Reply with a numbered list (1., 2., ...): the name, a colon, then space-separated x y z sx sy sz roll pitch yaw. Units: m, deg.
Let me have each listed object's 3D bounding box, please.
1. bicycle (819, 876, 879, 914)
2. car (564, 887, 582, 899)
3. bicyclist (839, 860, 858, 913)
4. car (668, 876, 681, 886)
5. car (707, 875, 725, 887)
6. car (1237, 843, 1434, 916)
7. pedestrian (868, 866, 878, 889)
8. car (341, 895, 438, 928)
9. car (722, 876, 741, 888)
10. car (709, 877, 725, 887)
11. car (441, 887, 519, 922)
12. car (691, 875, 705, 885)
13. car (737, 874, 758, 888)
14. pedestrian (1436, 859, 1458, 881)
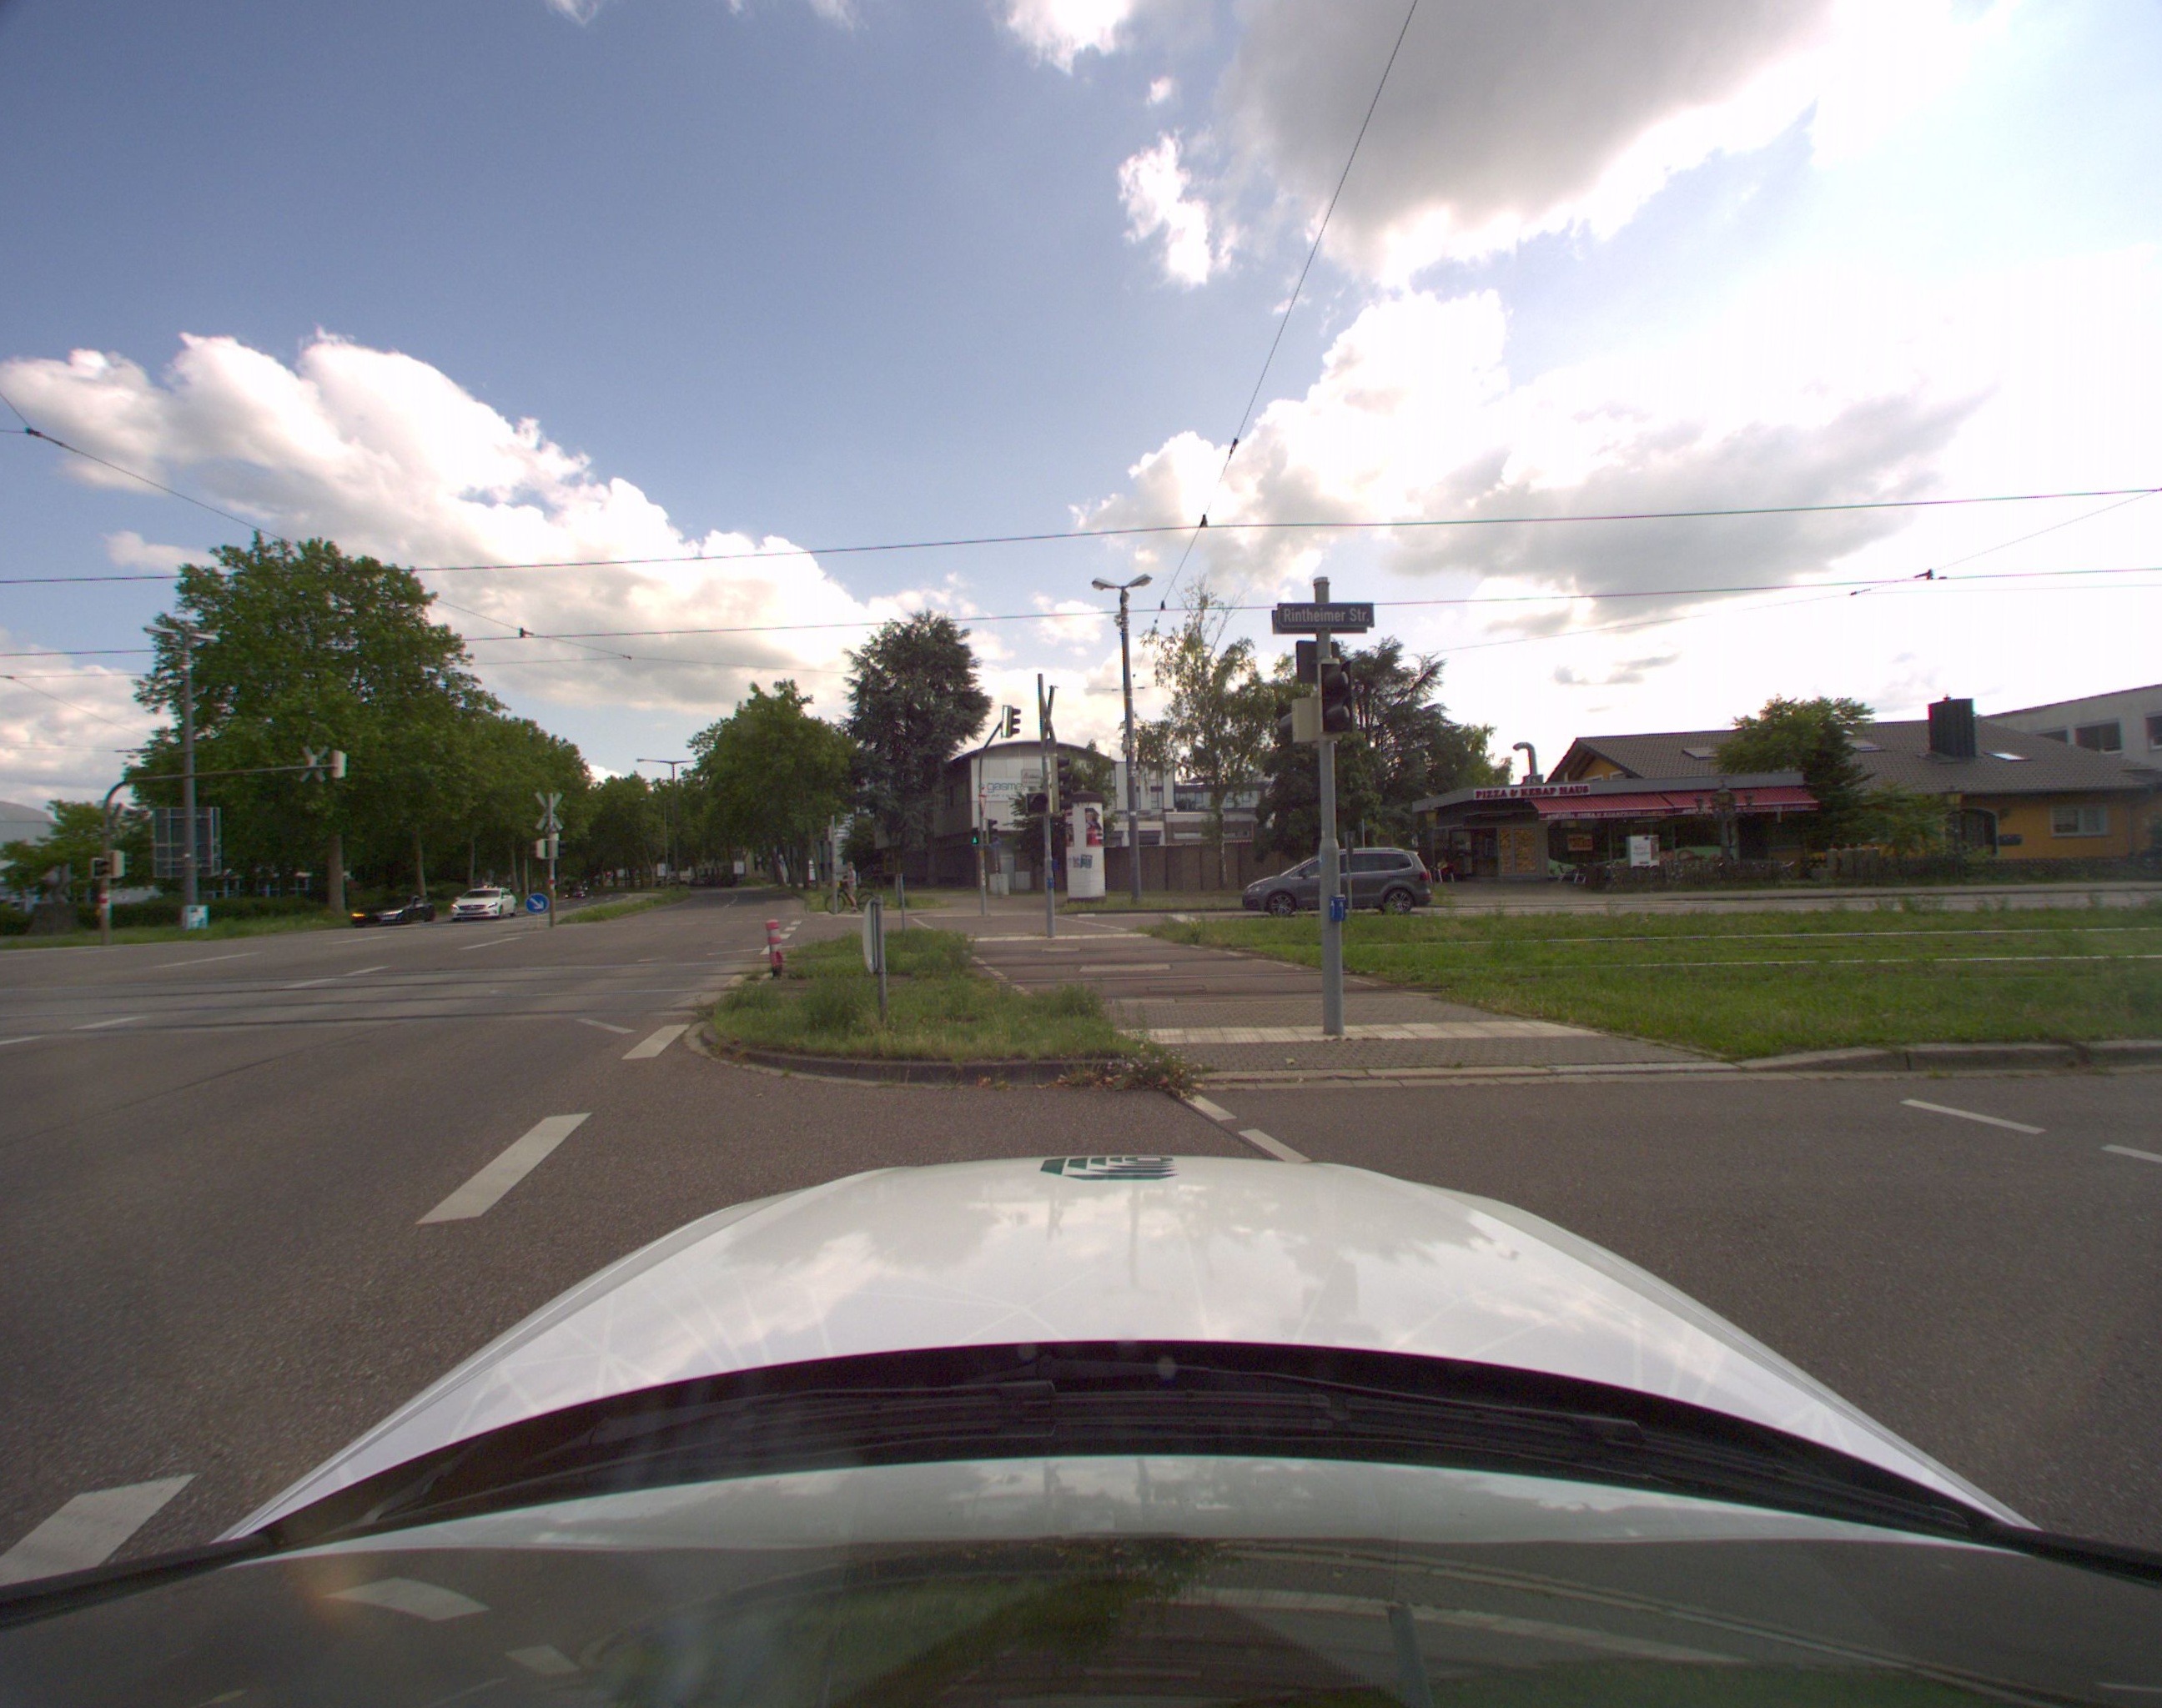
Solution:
1. bicycle: -8.104 1.435 28.546 1.946 1.235 0.539 -2 1 -11
2. car: -55.737 4.245 89.364 1.646 1.192 3.670 -1 -1 -33
3. bicyclist: -8.138 1.134 28.531 0.543 1.809 0.539 -2 1 -10
4. car: -79.332 5.245 159.015 2.007 1.574 3.961 -2 1 -31
5. car: -56.666 4.140 126.421 2.007 1.574 3.961 -2 1 -31
6. car: 6.565 0.665 21.518 4.697 1.722 2.005 -2 -1 8
7. pedestrian: -14.394 1.614 56.306 0.622 1.569 0.555 -2 1 -20
8. car: -30.213 2.478 35.704 1.636 1.192 3.692 -2 -1 -12
9. car: -51.474 4.068 119.853 2.007 1.574 3.961 -2 1 -31
10. car: -60.902 4.664 136.203 2.007 1.574 3.961 -2 1 -31
11. car: -27.503 2.270 37.427 1.832 1.364 4.108 -2 -1 -21
12. car: -70.044 4.808 148.967 2.007 1.574 3.961 -2 1 -31
13. car: -45.015 3.615 109.949 2.007 1.574 3.961 -2 1 -31
14. pedestrian: 15.794 0.681 35.165 0.720 0.929 0.780 -1 1 13
